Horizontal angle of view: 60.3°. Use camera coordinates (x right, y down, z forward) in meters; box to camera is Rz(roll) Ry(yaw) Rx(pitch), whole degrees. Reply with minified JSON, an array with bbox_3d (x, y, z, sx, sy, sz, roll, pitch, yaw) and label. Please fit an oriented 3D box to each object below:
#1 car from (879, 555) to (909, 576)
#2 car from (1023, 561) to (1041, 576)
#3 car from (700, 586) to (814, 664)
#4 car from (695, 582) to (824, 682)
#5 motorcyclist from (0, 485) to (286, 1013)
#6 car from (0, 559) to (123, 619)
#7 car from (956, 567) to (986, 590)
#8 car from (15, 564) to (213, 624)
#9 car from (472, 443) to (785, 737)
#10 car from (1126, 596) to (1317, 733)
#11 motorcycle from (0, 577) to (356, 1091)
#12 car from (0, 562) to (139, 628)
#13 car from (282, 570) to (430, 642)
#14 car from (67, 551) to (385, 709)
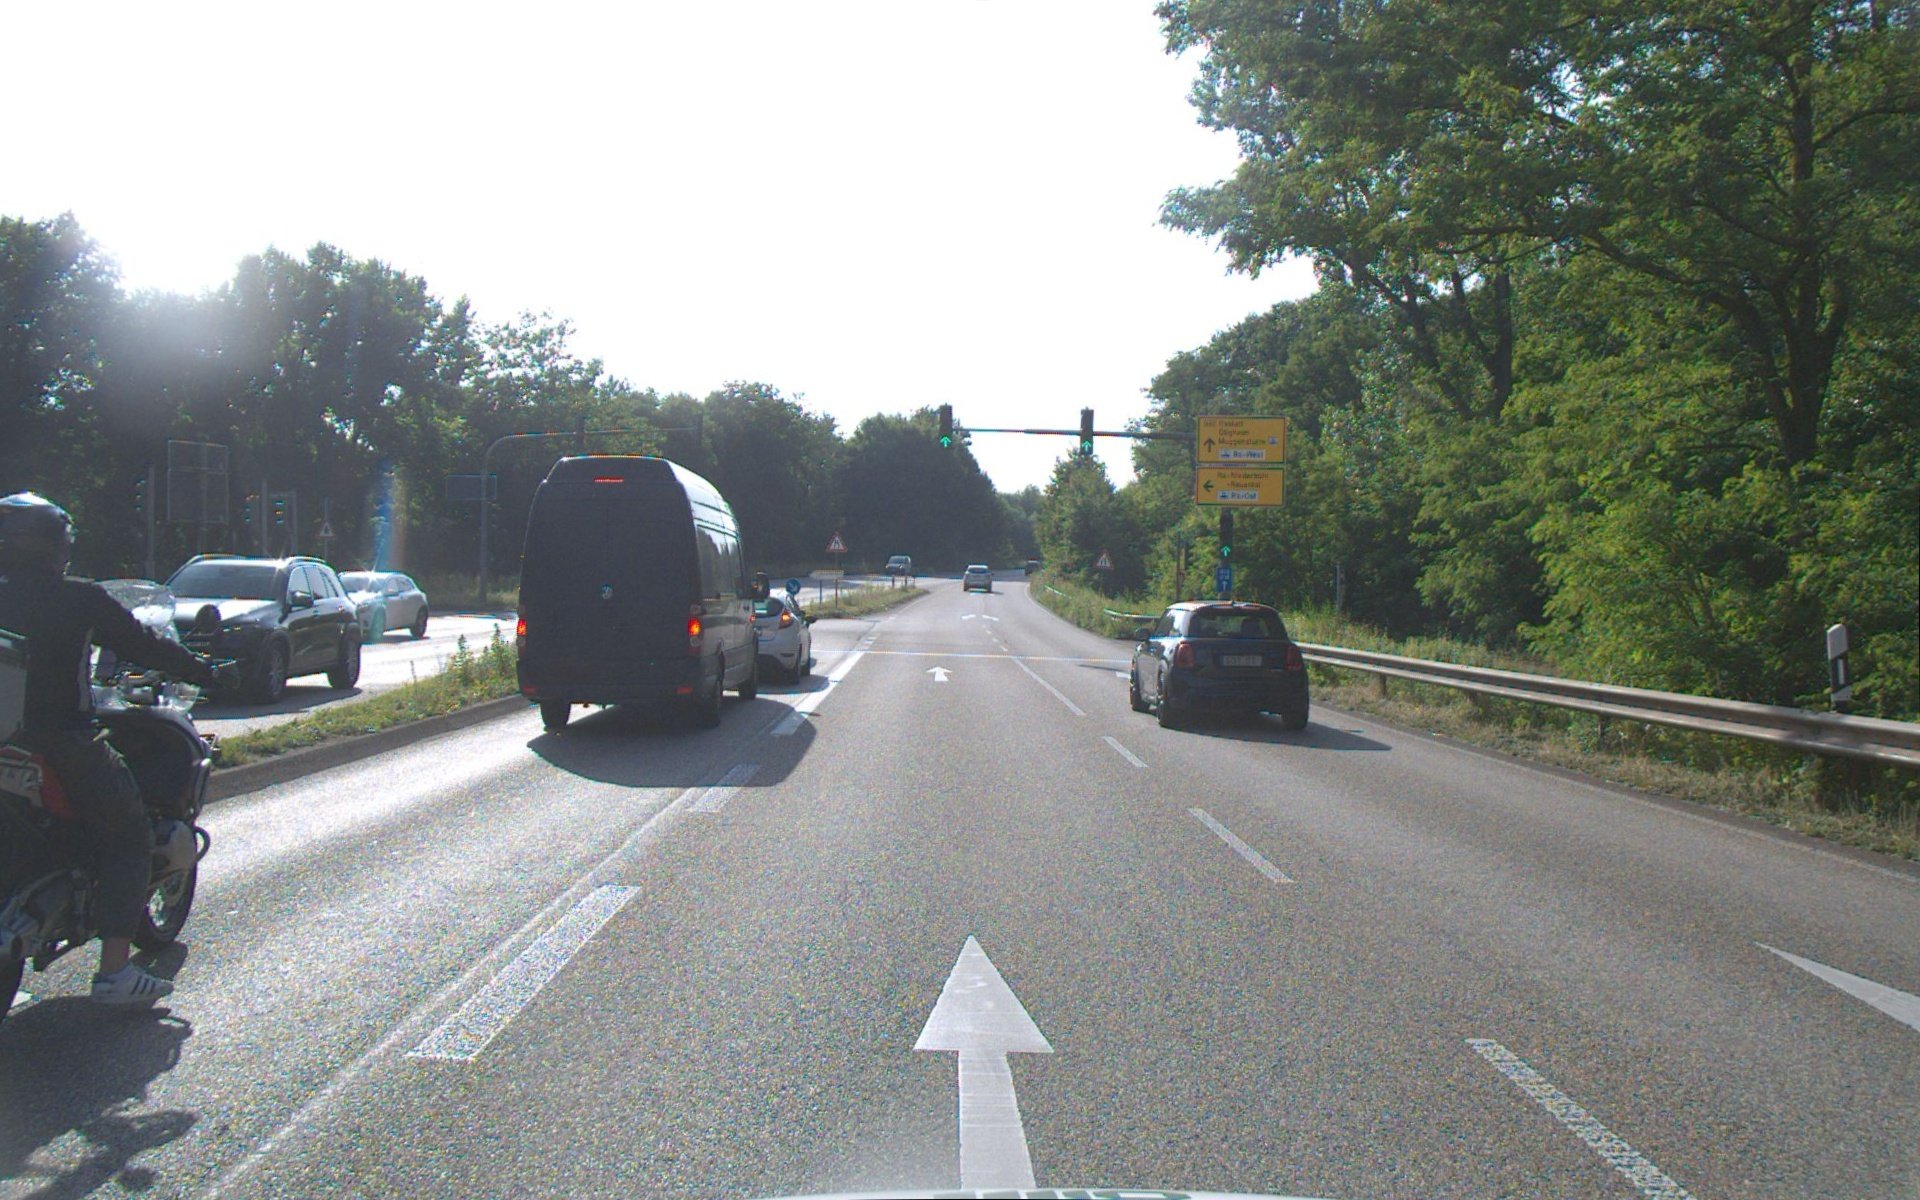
[{"bbox_3d":[-6.185,-3.243,155.608,1.811,1.817,4.674,2,1,10],"label":"car"},{"bbox_3d":[8.113,-3.530,187.337,1.709,1.564,3.924,2,1,-2],"label":"car"},{"bbox_3d":[-4.016,0.445,33.366,1.699,1.446,4.802,0,1,0],"label":"car"},{"bbox_3d":[-3.206,0.459,27.106,1.612,1.515,4.104,0,1,0],"label":"car"},{"bbox_3d":[-3.145,0.449,5.853,0.865,1.644,1.291,2,0,4],"label":"motorcyclist"},{"bbox_3d":[-25.843,-0.340,45.696,4.319,1.516,1.999,2,0,-2],"label":"car"},{"bbox_3d":[0.731,-1.433,109.245,1.724,1.404,3.973,2,1,3],"label":"car"},{"bbox_3d":[-24.789,-0.185,48.607,4.615,1.516,2.168,2,0,-2],"label":"car"},{"bbox_3d":[-3.690,-0.137,20.068,2.164,2.939,7.013,0,1,2],"label":"car"},{"bbox_3d":[3.109,0.715,20.375,1.782,1.493,3.873,1,0,1],"label":"car"},{"bbox_3d":[-3.161,0.676,5.793,0.889,1.479,2.690,-2,1,4],"label":"motorcycle"},{"bbox_3d":[-23.789,-0.165,42.617,4.314,1.516,2.002,3,0,9],"label":"car"},{"bbox_3d":[-13.749,0.110,37.915,1.845,1.529,4.264,-1,1,-1],"label":"car"},{"bbox_3d":[-9.287,0.317,21.460,2.033,1.794,4.756,-1,1,-1],"label":"car"}]
